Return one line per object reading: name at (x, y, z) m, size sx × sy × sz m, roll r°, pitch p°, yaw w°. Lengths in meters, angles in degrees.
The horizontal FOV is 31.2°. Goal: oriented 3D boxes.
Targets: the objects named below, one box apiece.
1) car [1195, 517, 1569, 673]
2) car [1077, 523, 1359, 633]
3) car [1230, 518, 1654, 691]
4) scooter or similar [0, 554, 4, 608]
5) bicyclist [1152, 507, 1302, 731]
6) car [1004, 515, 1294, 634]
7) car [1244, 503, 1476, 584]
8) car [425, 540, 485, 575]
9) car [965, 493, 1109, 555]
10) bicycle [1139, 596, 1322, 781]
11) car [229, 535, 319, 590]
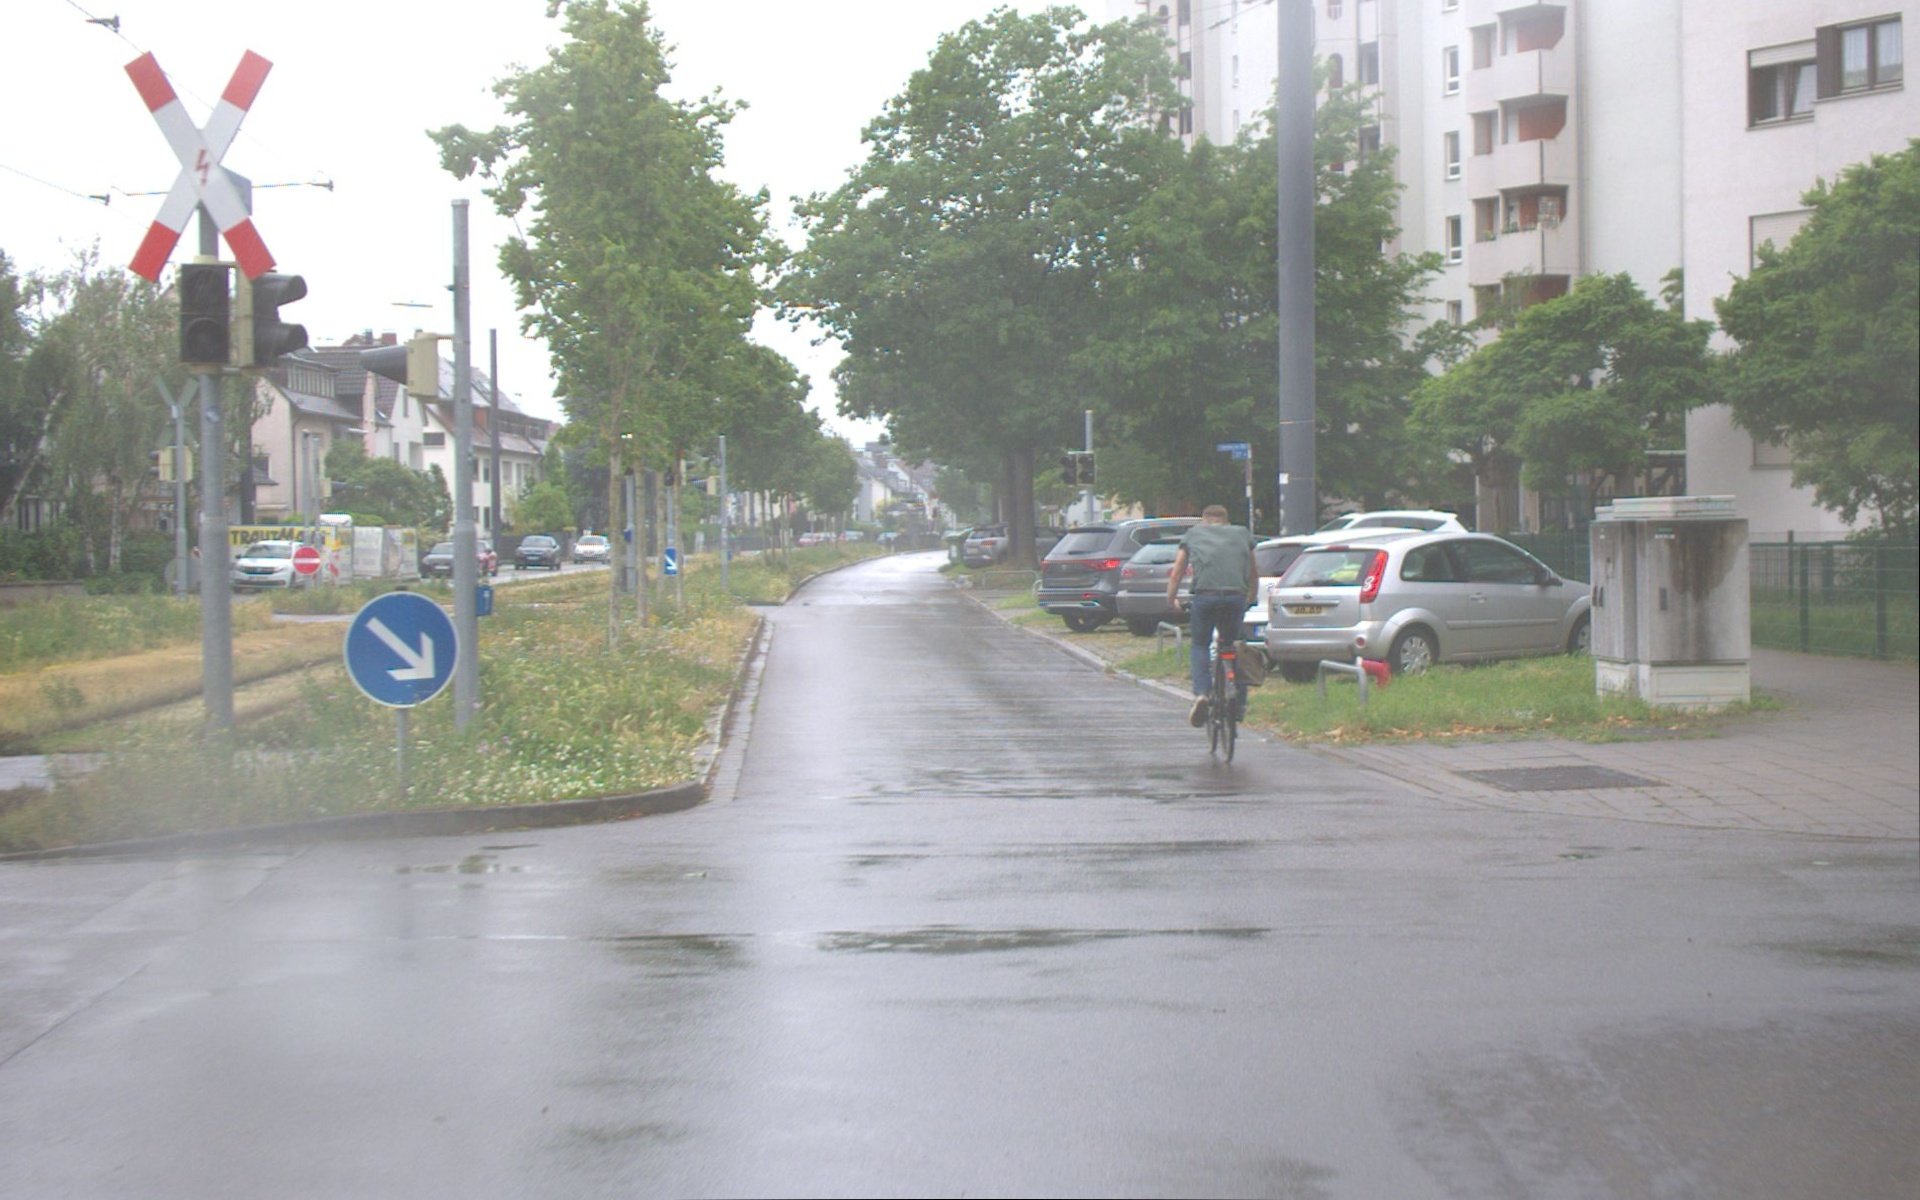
car at (4.591, -0.069, 37.122) m, size 3.989 × 1.503 × 1.705 m, roll -3°, pitch 0°, yaw -41°
car at (3.717, -0.330, 49.063) m, size 3.989 × 1.424 × 1.734 m, roll -3°, pitch 2°, yaw -43°
car at (4.764, 0.032, 33.748) m, size 3.988 × 1.503 × 1.783 m, roll -3°, pitch 0°, yaw -38°
scooter or similar at (-21.424, -0.403, 75.185) m, size 0.394 × 1.176 × 1.282 m, roll -1°, pitch 1°, yaw 14°
bicyclist at (1.762, 0.113, 22.816) m, size 0.809 × 1.428 × 1.060 m, roll -2°, pitch 1°, yaw -4°
car at (2.888, -0.409, 52.029) m, size 4.338 × 1.645 × 1.857 m, roll -3°, pitch 2°, yaw -43°
car at (9.079, -1.286, 78.133) m, size 4.801 × 1.739 × 2.001 m, roll -1°, pitch 1°, yaw -16°
car at (-19.158, -1.634, 130.543) m, size 1.663 × 1.240 × 4.072 m, roll 1°, pitch 1°, yaw 0°
car at (2.468, -2.428, 110.295) m, size 4.135 × 1.713 × 2.000 m, roll -5°, pitch 3°, yaw -32°
bicycle at (1.768, 0.553, 22.879) m, size 0.809 × 1.093 × 2.518 m, roll -2°, pitch 1°, yaw -4°
car at (-20.117, -1.122, 100.988) m, size 1.710 × 1.537 × 4.422 m, roll 1°, pitch 1°, yaw 0°
